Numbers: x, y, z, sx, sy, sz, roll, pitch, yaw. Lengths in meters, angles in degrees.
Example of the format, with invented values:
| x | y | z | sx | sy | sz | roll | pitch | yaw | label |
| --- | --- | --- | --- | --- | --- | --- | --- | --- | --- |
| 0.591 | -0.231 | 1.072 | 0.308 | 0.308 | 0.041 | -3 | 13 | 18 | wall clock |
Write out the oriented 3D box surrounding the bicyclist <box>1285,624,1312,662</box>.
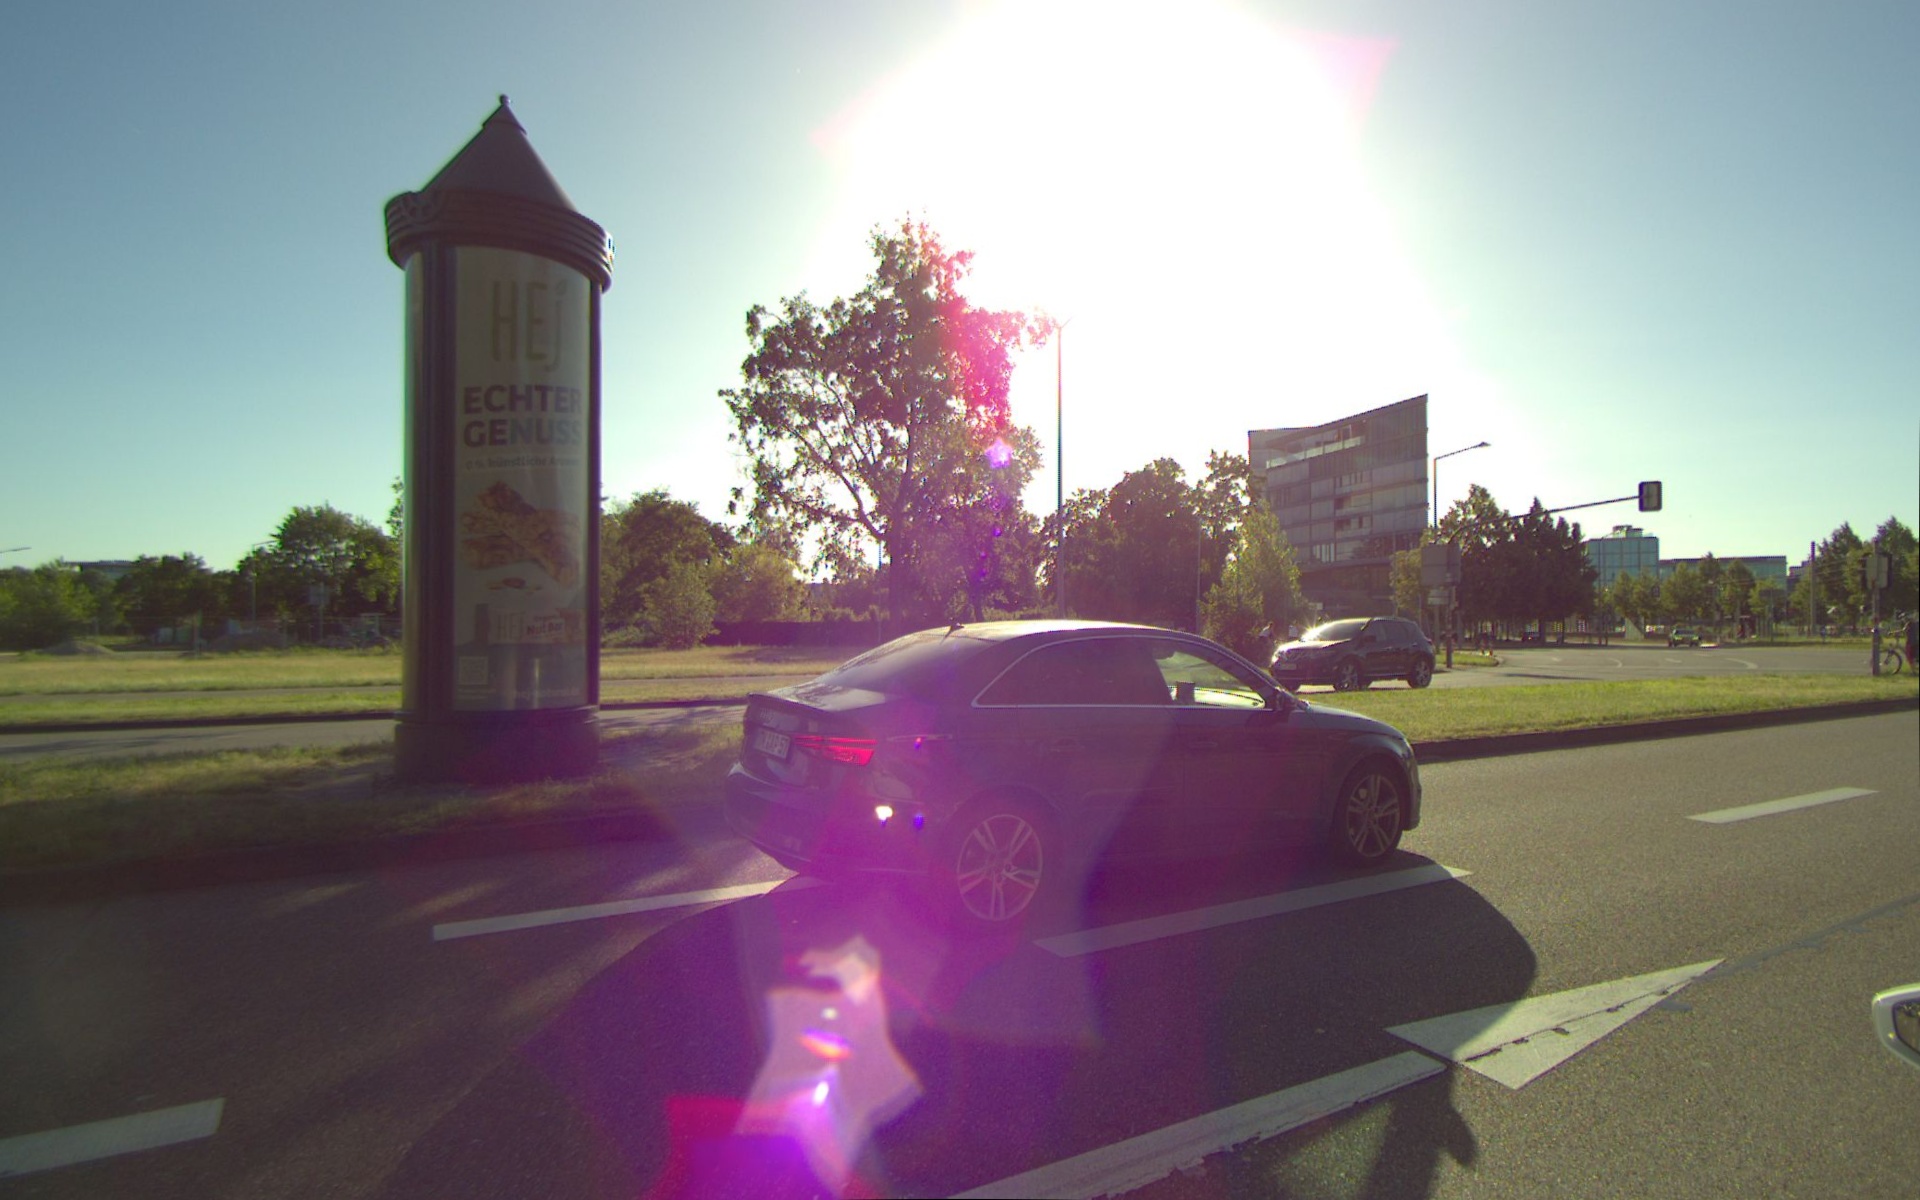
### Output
| x | y | z | sx | sy | sz | roll | pitch | yaw | label |
| --- | --- | --- | --- | --- | --- | --- | --- | --- | --- |
| 12.514 | 1.579 | 37.174 | 0.710 | 1.411 | 0.612 | 0 | -1 | -30 | bicyclist |

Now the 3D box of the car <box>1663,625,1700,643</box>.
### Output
| x | y | z | sx | sy | sz | roll | pitch | yaw | label |
| --- | --- | --- | --- | --- | --- | --- | --- | --- | --- |
| 65.535 | 3.082 | 91.295 | 1.972 | 1.561 | 4.321 | -1 | -2 | 26 | car |

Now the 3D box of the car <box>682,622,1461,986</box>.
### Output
| x | y | z | sx | sy | sz | roll | pitch | yaw | label |
| --- | --- | --- | --- | --- | --- | --- | --- | --- | --- |
| 0.787 | 0.845 | 5.783 | 4.309 | 1.398 | 1.751 | 1 | -1 | -31 | car |

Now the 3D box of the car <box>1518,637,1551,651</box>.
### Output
| x | y | z | sx | sy | sz | roll | pitch | yaw | label |
| --- | --- | --- | --- | --- | --- | --- | --- | --- | --- |
| 80.497 | 6.151 | 140.811 | 2.412 | 1.808 | 5.018 | 0 | -1 | 10 | car |

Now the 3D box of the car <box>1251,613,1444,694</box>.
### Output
| x | y | z | sx | sy | sz | roll | pitch | yaw | label |
| --- | --- | --- | --- | --- | --- | --- | --- | --- | --- |
| 9.293 | 1.240 | 23.995 | 4.688 | 1.762 | 1.982 | 1 | -2 | -34 | car |

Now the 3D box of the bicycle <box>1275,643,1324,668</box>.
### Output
| x | y | z | sx | sy | sz | roll | pitch | yaw | label |
| --- | --- | --- | --- | --- | --- | --- | --- | --- | --- |
| 12.576 | 2.047 | 37.193 | 1.866 | 0.864 | 0.612 | 0 | -1 | -30 | bicycle |

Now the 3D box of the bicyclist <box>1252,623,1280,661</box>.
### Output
| x | y | z | sx | sy | sz | roll | pitch | yaw | label |
| --- | --- | --- | --- | --- | --- | --- | --- | --- | --- |
| 11.584 | 1.575 | 37.991 | 0.827 | 1.411 | 0.612 | 0 | -1 | -30 | bicyclist |

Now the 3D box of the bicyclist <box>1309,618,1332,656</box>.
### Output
| x | y | z | sx | sy | sz | roll | pitch | yaw | label |
| --- | --- | --- | --- | --- | --- | --- | --- | --- | --- |
| 15.203 | 1.551 | 42.357 | 0.840 | 1.584 | 0.430 | 0 | -1 | -26 | bicyclist |

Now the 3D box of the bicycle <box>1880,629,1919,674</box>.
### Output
| x | y | z | sx | sy | sz | roll | pitch | yaw | label |
| --- | --- | --- | --- | --- | --- | --- | --- | --- | --- |
| 24.829 | 1.339 | 25.839 | 0.698 | 1.143 | 1.637 | 2 | -2 | -39 | bicycle |

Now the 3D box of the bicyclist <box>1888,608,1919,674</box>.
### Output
| x | y | z | sx | sy | sz | roll | pitch | yaw | label |
| --- | --- | --- | --- | --- | --- | --- | --- | --- | --- |
| 24.702 | 1.068 | 25.993 | 0.698 | 1.685 | 0.932 | 2 | -2 | -39 | bicyclist |

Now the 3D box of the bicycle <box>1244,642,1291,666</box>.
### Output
| x | y | z | sx | sy | sz | roll | pitch | yaw | label |
| --- | --- | --- | --- | --- | --- | --- | --- | --- | --- |
| 11.646 | 2.030 | 38.022 | 1.866 | 0.864 | 0.612 | 0 | -1 | -30 | bicycle |
